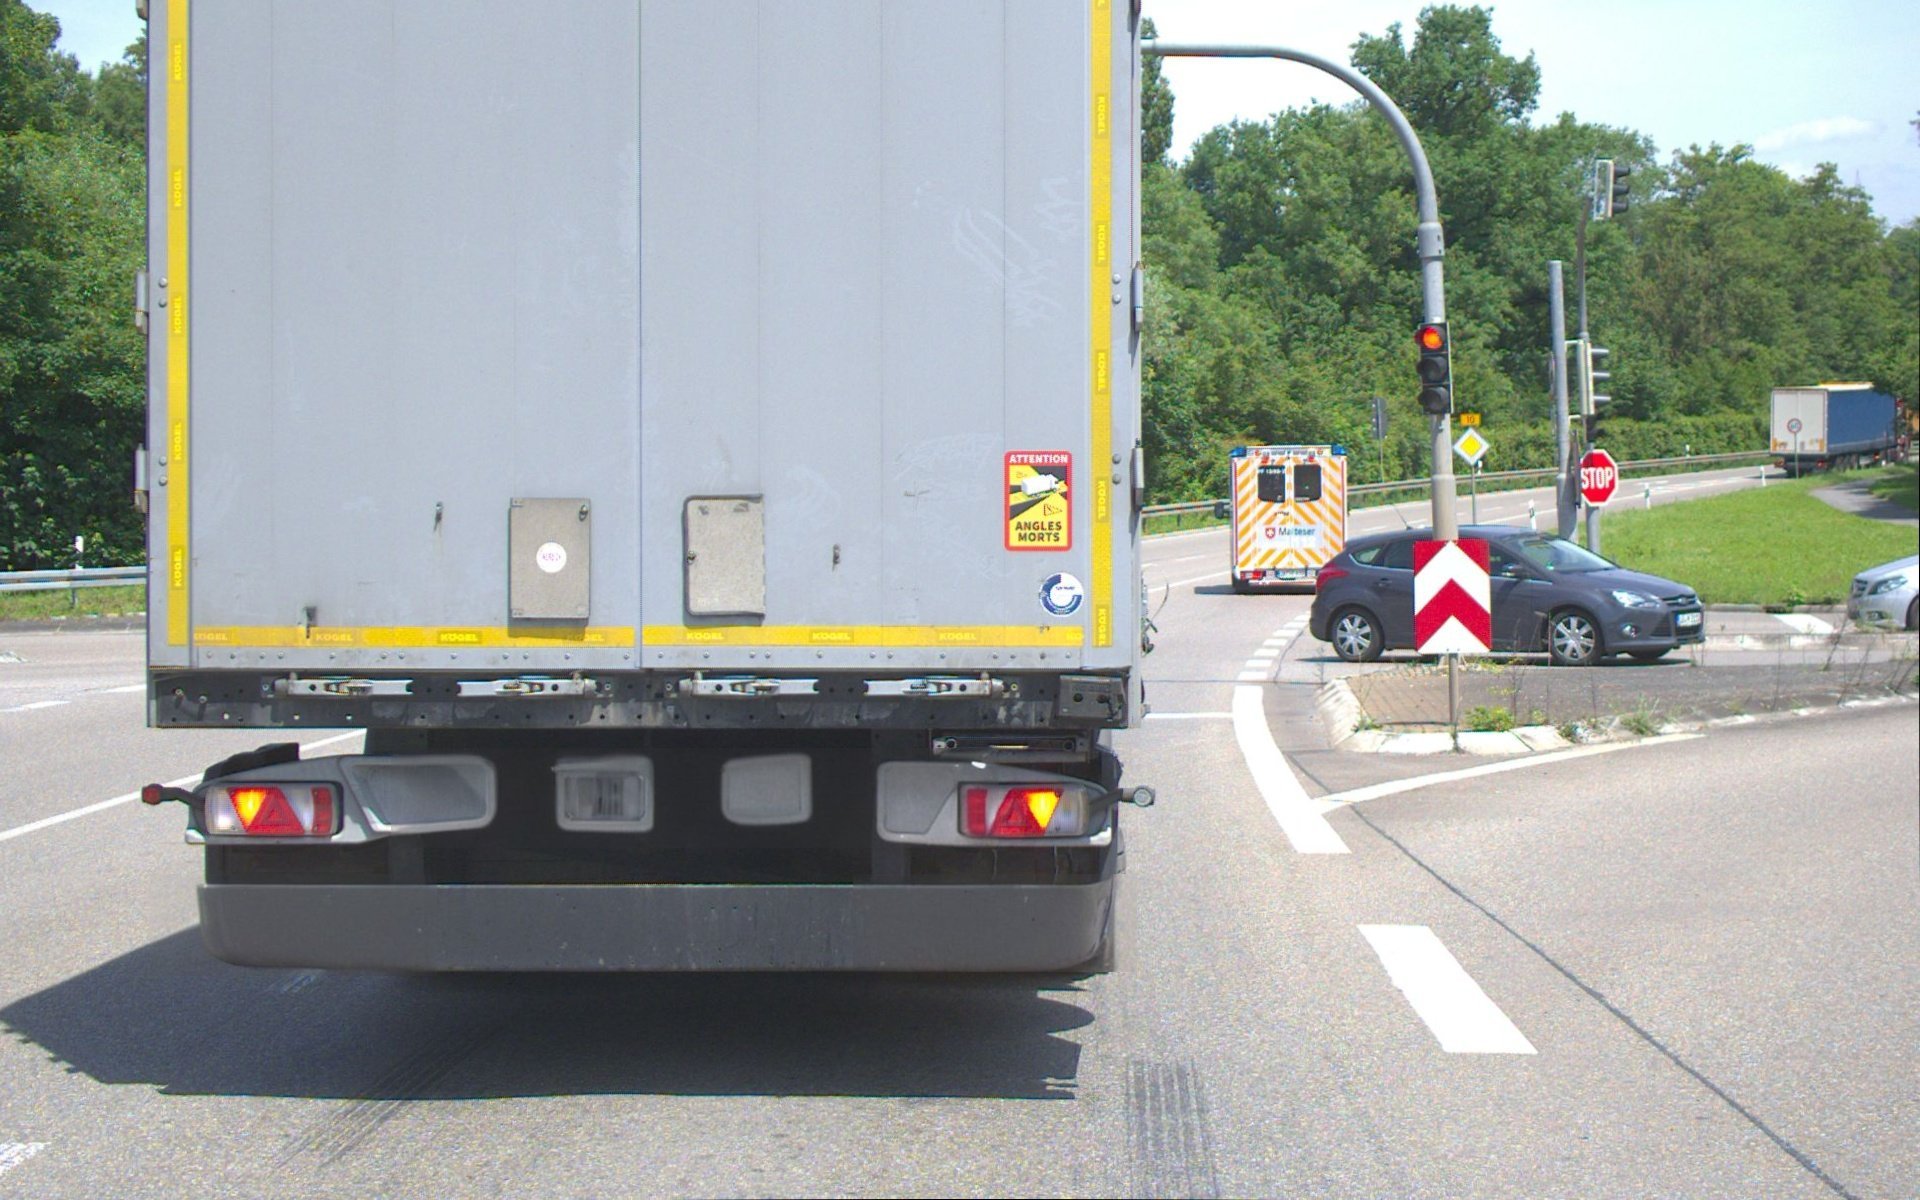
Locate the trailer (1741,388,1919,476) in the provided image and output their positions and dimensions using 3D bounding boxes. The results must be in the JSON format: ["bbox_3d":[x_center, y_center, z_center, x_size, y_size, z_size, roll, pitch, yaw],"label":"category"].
[{"bbox_3d":[46.588,-8.763,180.964,5.019,4.347,20.806,1,2,29],"label":"trailer"}]

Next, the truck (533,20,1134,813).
[{"bbox_3d":[-0.554,-0.994,20.842,3.038,4.020,6.629,0,1,2],"label":"truck"}]

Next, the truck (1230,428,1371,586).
[{"bbox_3d":[6.442,-1.689,64.788,2.494,2.718,6.029,0,-1,6],"label":"truck"}]

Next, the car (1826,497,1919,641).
[{"bbox_3d":[13.019,-0.343,42.028,4.428,1.712,2.000,0,-1,5],"label":"car"}]

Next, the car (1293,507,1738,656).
[{"bbox_3d":[5.885,-0.173,36.659,4.253,1.486,1.995,0,-1,39],"label":"car"}]

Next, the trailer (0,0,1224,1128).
[{"bbox_3d":[-0.726,-0.863,14.588,3.052,4.020,12.559,0,1,2],"label":"trailer"}]

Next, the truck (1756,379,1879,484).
[{"bbox_3d":[39.409,-7.641,157.707,3.183,4.015,11.728,0,-1,25],"label":"truck"}]
